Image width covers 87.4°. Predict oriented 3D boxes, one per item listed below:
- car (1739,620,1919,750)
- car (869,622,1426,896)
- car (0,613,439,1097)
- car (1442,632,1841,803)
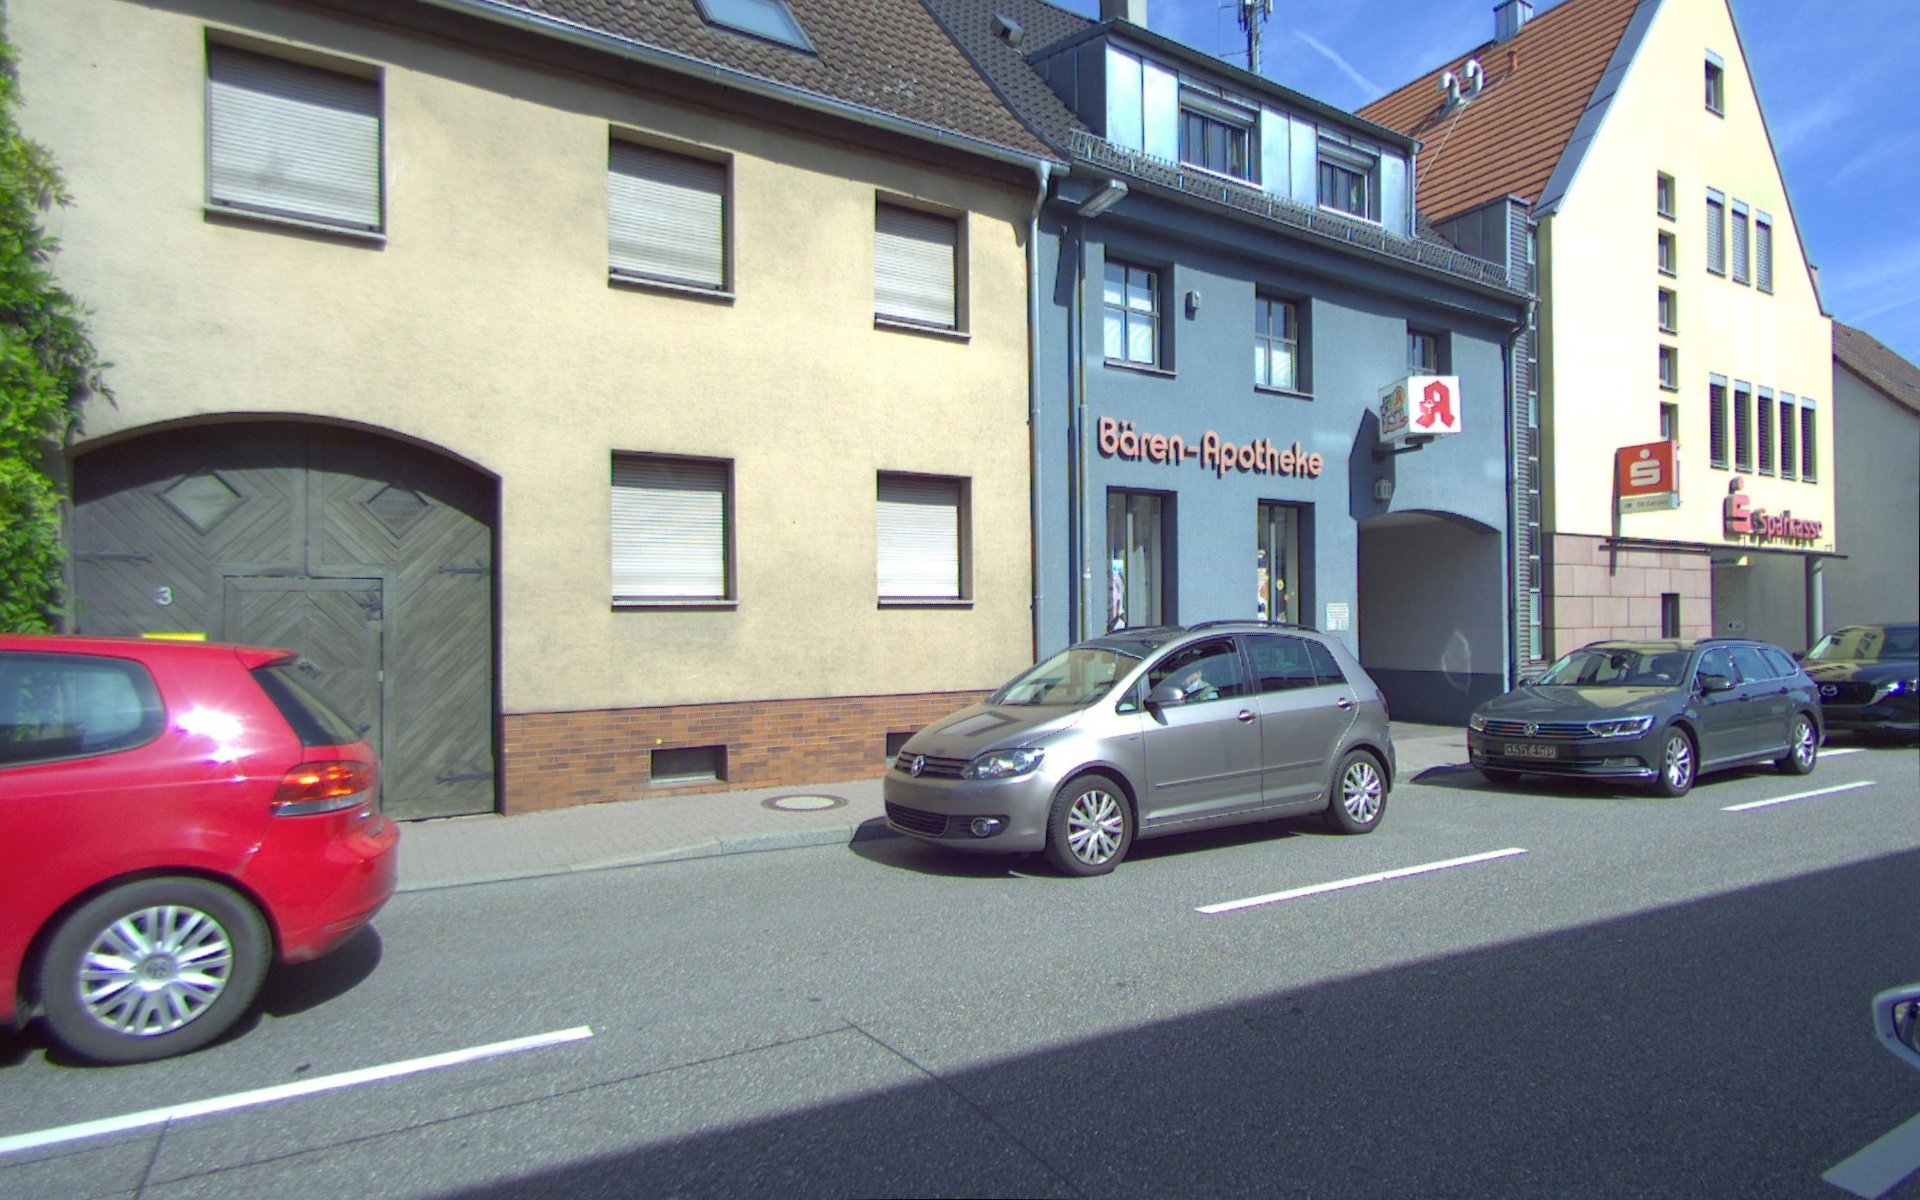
[{"bbox_3d":[13.381,1.153,14.488,4.466,1.610,1.859,1,-4,-31],"label":"car"},{"bbox_3d":[1.465,0.980,7.424,3.973,1.540,1.621,1,-4,-31],"label":"car"},{"bbox_3d":[-4.148,0.830,3.473,4.032,1.512,1.749,1,-4,-33],"label":"car"},{"bbox_3d":[7.233,1.101,10.565,4.373,1.469,1.780,1,-4,-31],"label":"car"}]
